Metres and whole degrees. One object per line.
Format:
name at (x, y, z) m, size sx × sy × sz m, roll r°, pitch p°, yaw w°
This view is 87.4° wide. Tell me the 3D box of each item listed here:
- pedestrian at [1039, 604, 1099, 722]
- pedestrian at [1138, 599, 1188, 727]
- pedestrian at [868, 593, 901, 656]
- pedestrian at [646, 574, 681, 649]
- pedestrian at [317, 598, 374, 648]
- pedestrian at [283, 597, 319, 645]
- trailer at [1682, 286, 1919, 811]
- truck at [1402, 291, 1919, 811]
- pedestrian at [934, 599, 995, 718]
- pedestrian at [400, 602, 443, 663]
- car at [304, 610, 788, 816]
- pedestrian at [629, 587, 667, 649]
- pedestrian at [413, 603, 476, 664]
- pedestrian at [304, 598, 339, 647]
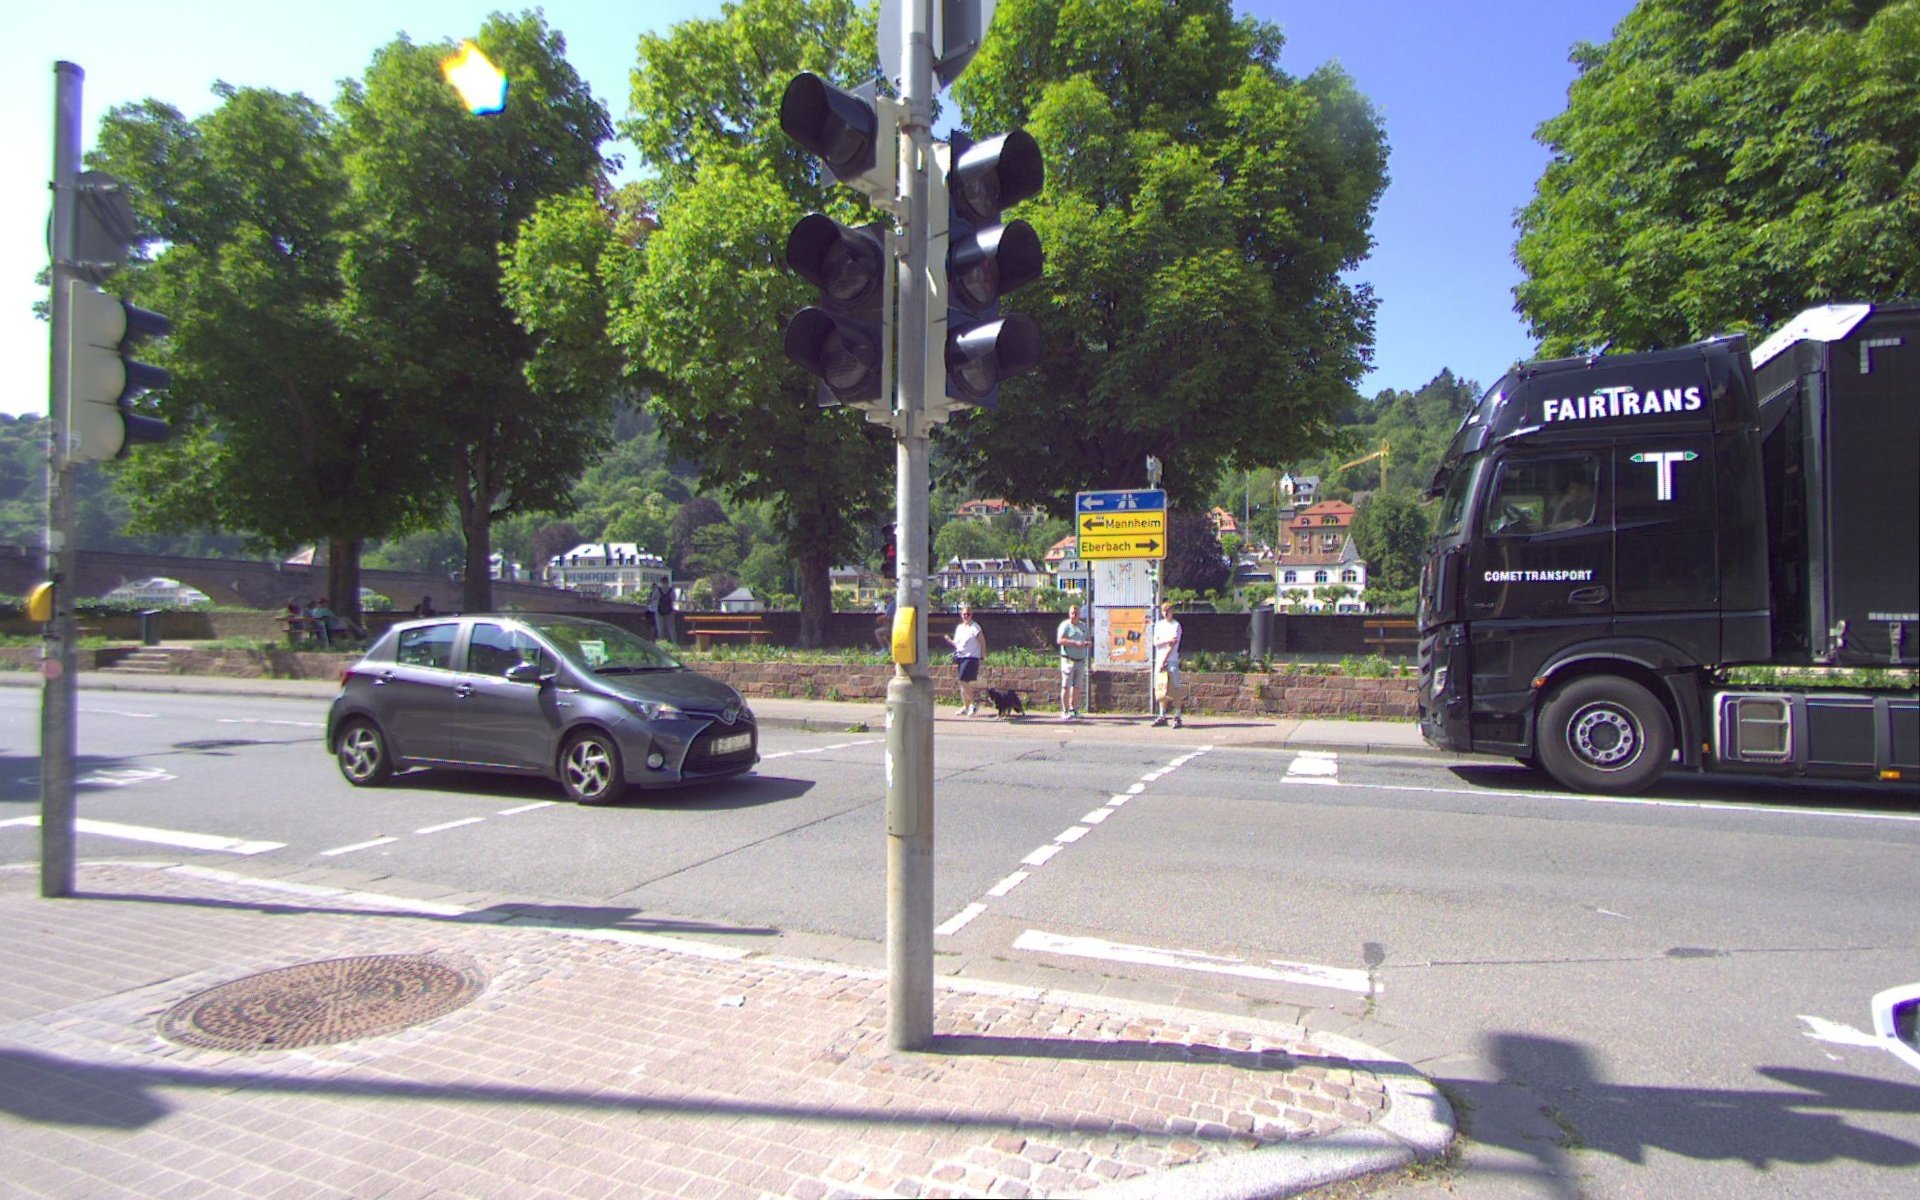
pedestrian at (1.708, 0.973, 15.736) m, size 0.706 × 1.793 × 0.687 m, roll 1°, pitch -2°, yaw -18°
pedestrian at (2.989, 0.914, 14.759) m, size 0.691 × 1.825 × 0.580 m, roll 0°, pitch -2°, yaw 14°
pedestrian at (-1.535, 0.500, 20.445) m, size 0.630 × 1.244 × 0.414 m, roll -1°, pitch -4°, yaw 1°
pedestrian at (-7.599, 0.307, 25.782) m, size 0.752 × 1.882 × 0.755 m, roll 2°, pitch -2°, yaw -12°
pedestrian at (-16.442, 0.625, 26.899) m, size 0.460 × 1.287 × 1.223 m, roll 0°, pitch -2°, yaw 25°
pedestrian at (-17.846, 0.579, 27.217) m, size 0.460 × 1.287 × 0.631 m, roll 0°, pitch -2°, yaw 26°
trailer at (13.656, -0.361, 7.126) m, size 13.502 × 4.157 × 2.843 m, roll 0°, pitch -3°, yaw 21°
truck at (7.456, -0.318, 9.504) m, size 5.816 × 4.124 × 2.840 m, roll 0°, pitch -3°, yaw 21°
pedestrian at (0.071, 0.908, 16.059) m, size 0.718 × 1.826 × 0.626 m, roll 0°, pitch 2°, yaw -41°
pedestrian at (-13.615, 0.815, 25.398) m, size 0.460 × 1.512 × 0.804 m, roll 0°, pitch -2°, yaw 25°
car at (-3.646, 0.876, 8.948) m, size 3.804 × 1.518 × 1.728 m, roll 0°, pitch -2°, yaw 20°
pedestrian at (-9.089, 0.524, 29.238) m, size 0.696 × 1.754 × 0.757 m, roll 1°, pitch -2°, yaw 17°
pedestrian at (-13.024, 0.845, 25.399) m, size 0.460 × 1.499 × 1.384 m, roll 0°, pitch -2°, yaw 25°
pedestrian at (-17.060, 0.600, 26.842) m, size 0.460 × 1.287 × 0.631 m, roll 0°, pitch -2°, yaw 26°
